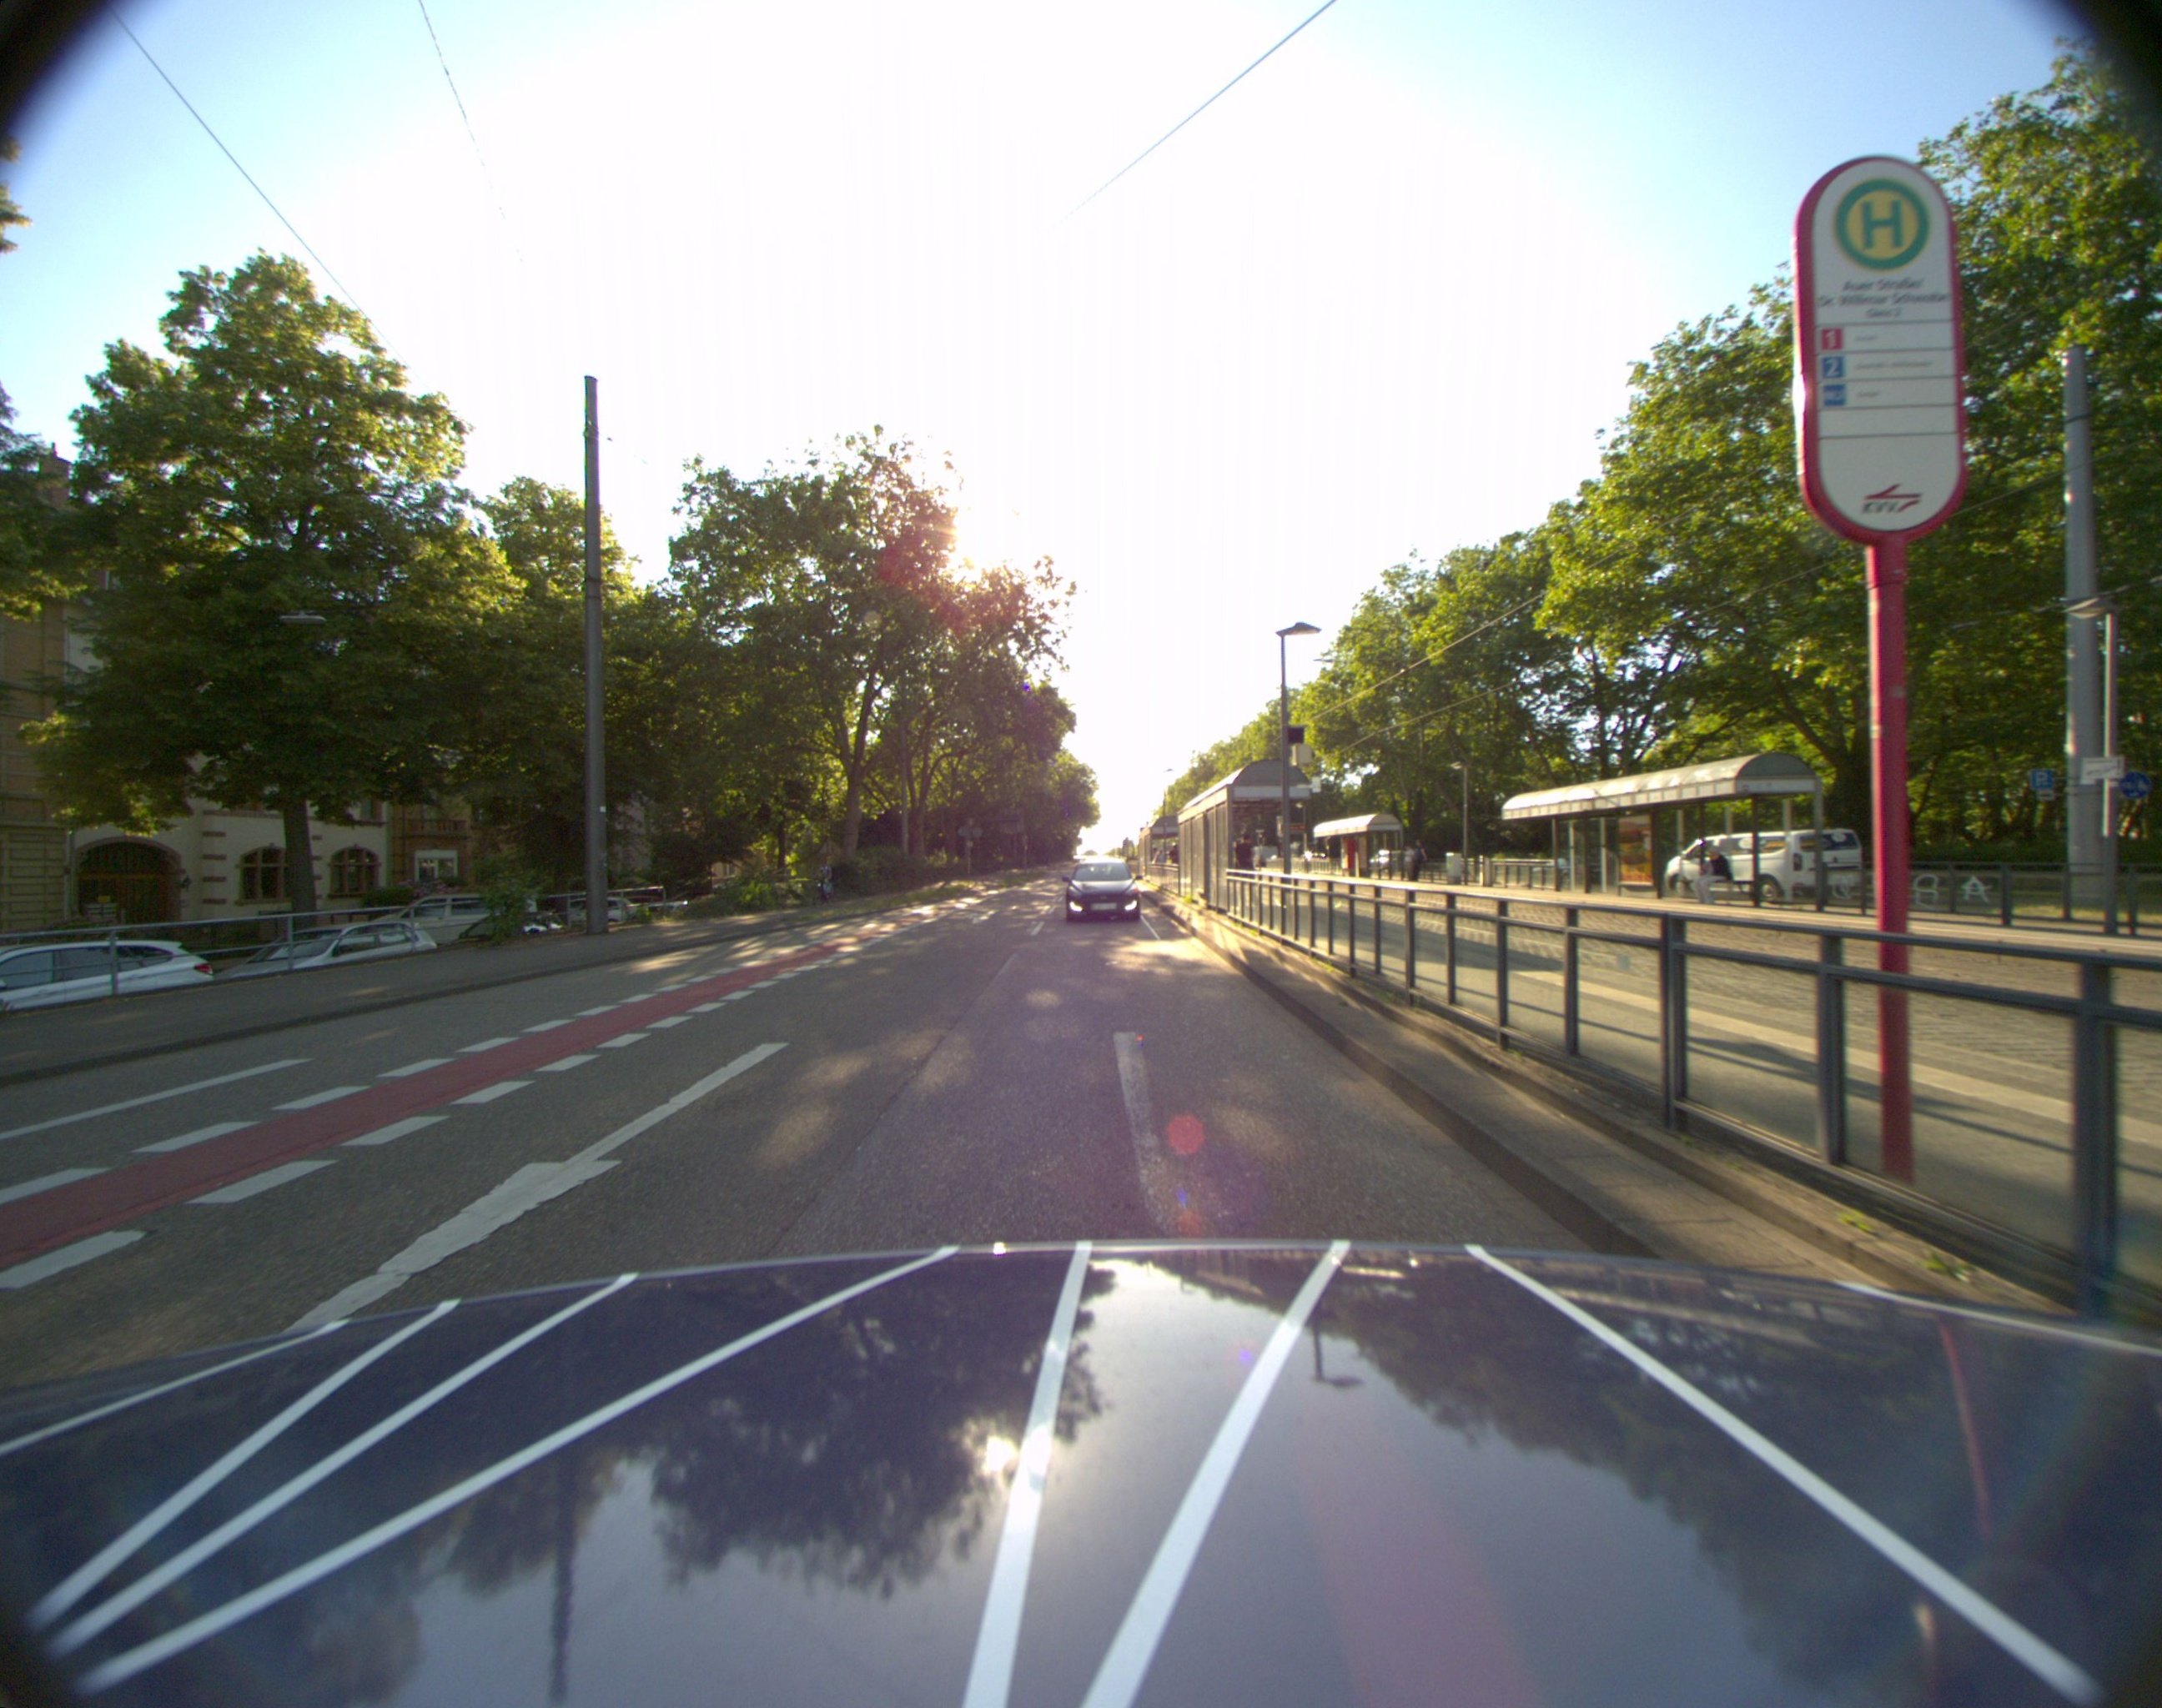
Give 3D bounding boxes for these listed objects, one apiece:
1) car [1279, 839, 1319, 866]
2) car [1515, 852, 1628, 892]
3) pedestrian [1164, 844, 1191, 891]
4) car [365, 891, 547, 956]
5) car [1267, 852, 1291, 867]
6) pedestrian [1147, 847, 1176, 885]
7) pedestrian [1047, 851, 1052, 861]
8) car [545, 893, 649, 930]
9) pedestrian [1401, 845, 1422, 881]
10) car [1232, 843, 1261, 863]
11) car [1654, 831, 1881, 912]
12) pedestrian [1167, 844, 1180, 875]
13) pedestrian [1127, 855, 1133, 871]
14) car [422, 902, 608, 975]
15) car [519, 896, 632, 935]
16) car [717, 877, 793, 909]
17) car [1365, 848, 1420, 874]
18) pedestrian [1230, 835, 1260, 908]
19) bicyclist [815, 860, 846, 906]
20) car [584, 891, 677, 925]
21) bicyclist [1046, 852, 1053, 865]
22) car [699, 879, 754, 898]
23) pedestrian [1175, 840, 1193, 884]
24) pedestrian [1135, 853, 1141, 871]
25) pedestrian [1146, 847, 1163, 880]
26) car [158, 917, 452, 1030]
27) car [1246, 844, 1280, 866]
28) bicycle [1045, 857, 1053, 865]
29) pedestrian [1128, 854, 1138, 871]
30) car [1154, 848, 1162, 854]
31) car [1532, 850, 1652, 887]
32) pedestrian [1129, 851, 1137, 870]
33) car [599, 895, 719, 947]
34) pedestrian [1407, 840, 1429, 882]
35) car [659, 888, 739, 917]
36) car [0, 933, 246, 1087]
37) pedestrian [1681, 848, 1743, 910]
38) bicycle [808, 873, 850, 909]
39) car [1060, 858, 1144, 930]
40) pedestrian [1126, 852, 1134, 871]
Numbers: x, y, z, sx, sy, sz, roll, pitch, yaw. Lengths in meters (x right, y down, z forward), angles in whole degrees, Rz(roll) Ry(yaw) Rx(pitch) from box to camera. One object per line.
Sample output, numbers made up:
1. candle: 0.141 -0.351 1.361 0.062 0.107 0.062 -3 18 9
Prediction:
1. car: 21.497 -0.209 75.165 2.189 2.506 6.031 1 1 -1
2. car: 20.244 0.684 31.604 1.799 1.501 4.340 1 1 -1
3. pedestrian: 3.646 0.514 28.808 0.654 1.712 0.708 -3 1 -35
4. car: -21.670 2.348 26.640 4.691 1.954 1.868 0 -1 -31
5. car: 21.797 0.602 83.572 1.656 1.504 3.264 1 1 -2
6. pedestrian: 3.485 0.515 32.906 0.800 1.624 0.868 -3 0 39
7. pedestrian: -5.098 0.357 123.615 0.649 1.626 0.928 1 1 2
8. car: -22.470 2.656 35.456 4.007 1.501 1.796 0 -1 -31
9. pedestrian: 14.472 0.371 33.285 0.594 1.535 0.626 -2 1 1
10. car: 21.329 -0.194 98.157 2.189 2.506 6.048 1 1 -1
11. car: 20.046 0.434 22.607 2.072 2.112 5.089 1 1 -1
12. pedestrian: 4.851 0.285 39.917 0.589 1.558 0.650 -2 1 1
13. pedestrian: 4.000 0.726 62.342 0.417 1.313 0.359 1 1 1
14. car: -14.375 2.087 19.634 1.799 1.301 3.999 -2 1 -1
15. car: -21.608 2.601 32.605 3.932 1.443 1.685 0 -1 -33
16. car: -21.623 2.559 50.489 4.471 2.002 1.992 0 -1 -29
17. car: 20.713 0.430 50.706 1.908 1.642 3.971 1 1 -2
18. pedestrian: 3.893 0.407 18.038 0.596 1.668 0.589 -2 1 6
19. bicyclist: -8.378 0.973 25.412 0.768 1.504 0.650 -1 1 0
20. car: -22.760 2.680 38.485 4.007 1.501 1.796 0 -1 -31
21. bicyclist: -4.318 0.609 103.446 0.700 1.718 1.081 -1 0 9
22. car: -30.862 2.991 66.175 3.995 1.501 1.801 0 0 6
23. pedestrian: 4.431 0.349 32.626 0.652 1.831 0.711 -2 1 11
24. pedestrian: 4.727 0.631 62.990 0.521 1.464 0.514 1 1 2
25. pedestrian: 3.845 0.468 39.773 0.744 1.685 0.791 -2 1 1
26. car: -14.212 2.117 14.265 1.799 1.433 3.576 -2 1 -1
27. car: 21.543 0.071 90.205 2.189 2.506 6.269 1 1 -2
28. bicycle: -4.310 0.968 103.450 0.700 1.101 1.931 -1 0 9
29. pedestrian: 4.219 0.690 61.767 0.592 1.398 0.558 1 1 -19
30. car: 21.342 -0.890 211.019 1.734 1.730 3.899 1 1 -1
31. car: 20.092 0.523 30.132 1.774 1.284 4.314 1 1 -1
32. pedestrian: 4.352 0.557 63.624 0.520 1.559 0.509 2 1 31
33. car: -14.130 2.205 25.725 1.799 1.301 3.999 -2 1 -1
34. pedestrian: 14.382 0.274 32.448 0.649 1.762 0.650 -2 1 3
35. car: -22.238 2.768 44.244 4.007 1.501 1.796 0 -1 -31
36. car: -14.249 2.111 9.807 1.799 1.570 4.552 -2 1 1
37. pedestrian: 13.857 0.537 16.701 0.671 1.317 0.757 2 1 -1
38. bicycle: -8.383 1.225 25.392 0.768 1.101 1.800 -1 0 0
39. car: 0.488 0.894 18.691 1.799 1.501 4.000 -2 0 1
40. pedestrian: 4.070 0.606 62.854 0.591 1.511 0.514 1 1 1
